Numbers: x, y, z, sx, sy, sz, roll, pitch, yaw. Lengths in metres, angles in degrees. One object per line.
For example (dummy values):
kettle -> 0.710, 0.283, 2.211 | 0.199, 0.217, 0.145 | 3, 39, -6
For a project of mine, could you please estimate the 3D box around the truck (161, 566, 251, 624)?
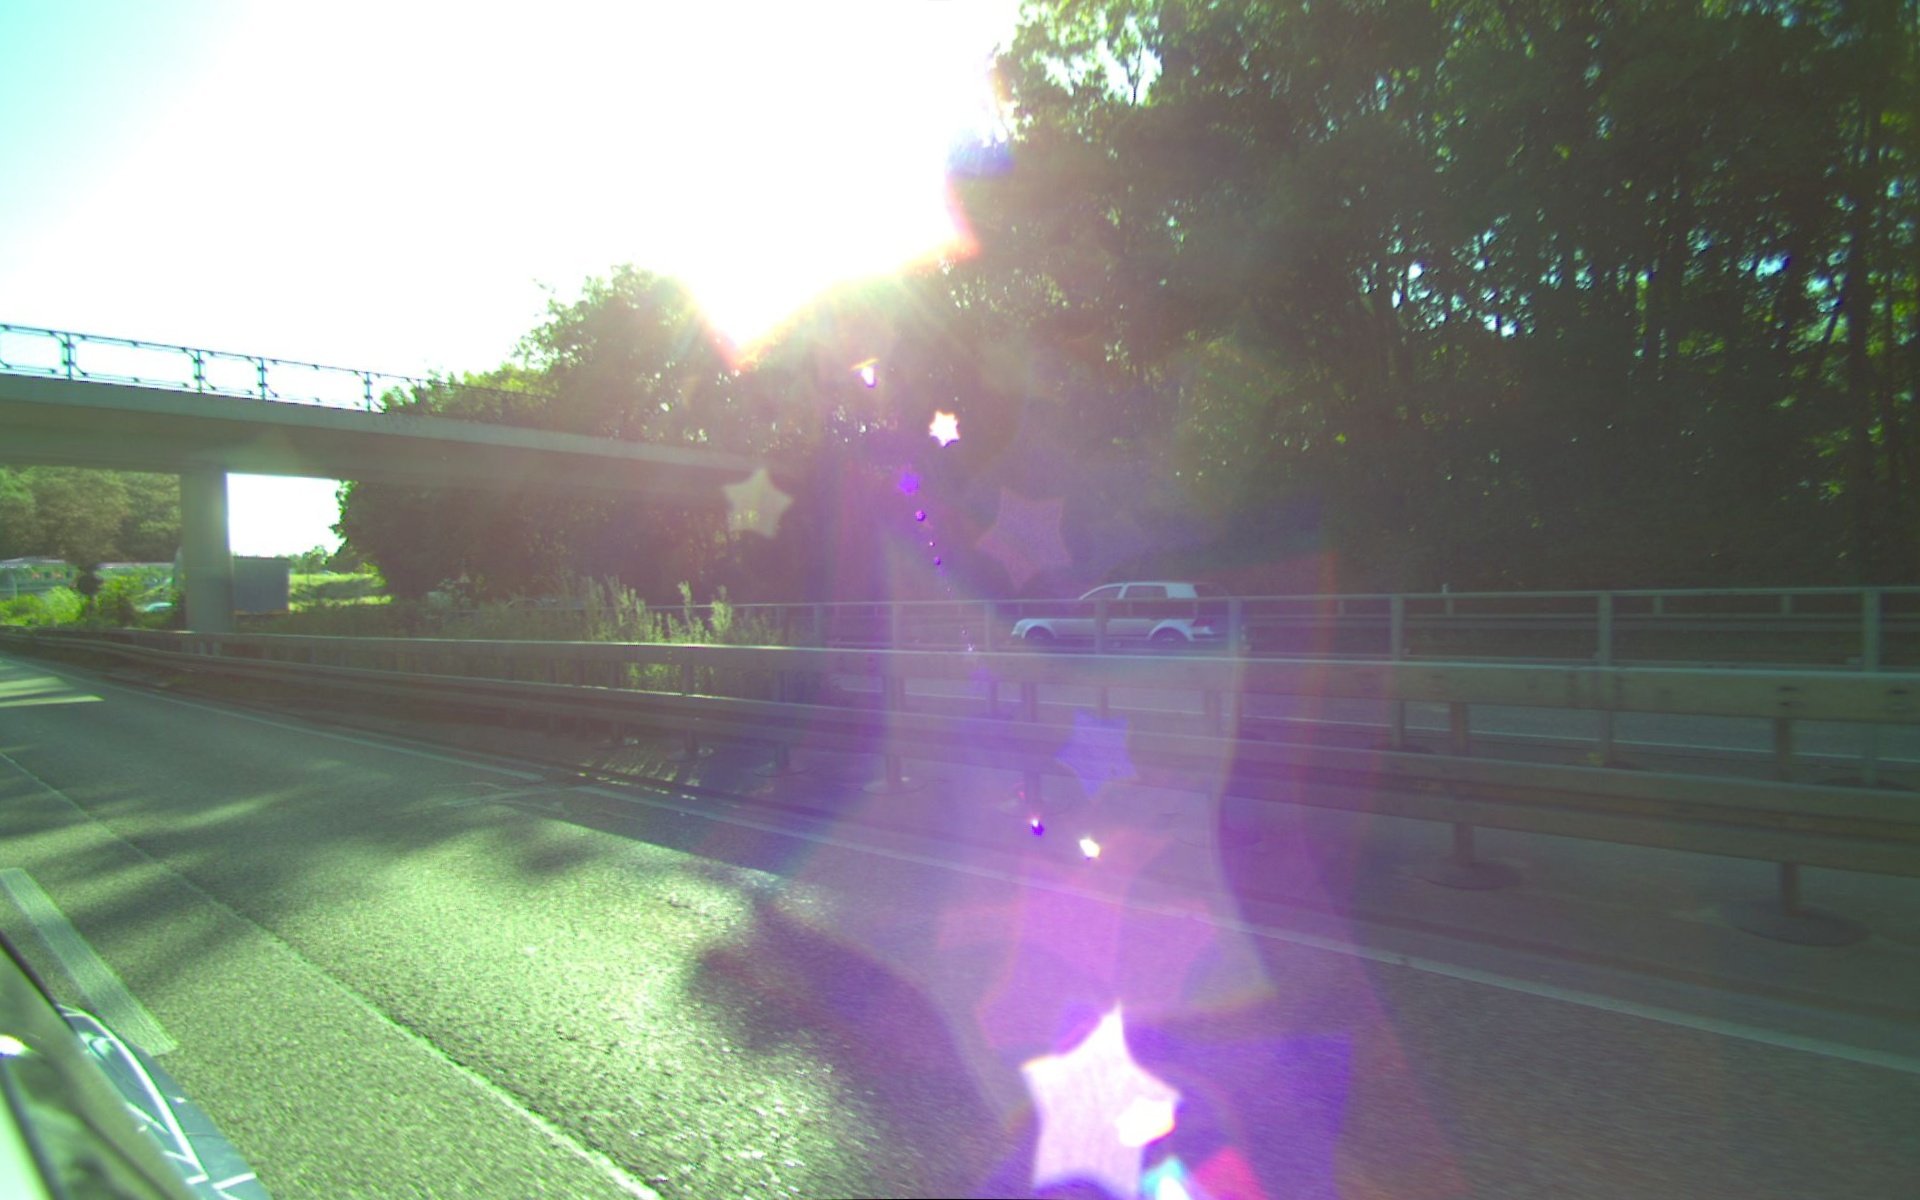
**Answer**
truck -> -44.203, -0.233, 59.255 | 7.081, 3.192, 2.898 | -1, 0, 42

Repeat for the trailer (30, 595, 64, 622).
trailer -> -137.772, 1.312, 152.584 | 14.032, 4.018, 2.988 | -1, 0, 45

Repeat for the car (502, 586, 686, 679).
car -> -7.767, 0.646, 21.332 | 4.109, 1.729, 1.877 | -2, 0, 41

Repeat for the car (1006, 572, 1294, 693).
car -> 3.084, 0.486, 16.967 | 4.341, 1.763, 1.973 | -1, 0, 41

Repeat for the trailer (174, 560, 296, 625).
trailer -> -39.412, -0.297, 54.802 | 11.913, 3.192, 2.898 | -1, 0, 42
